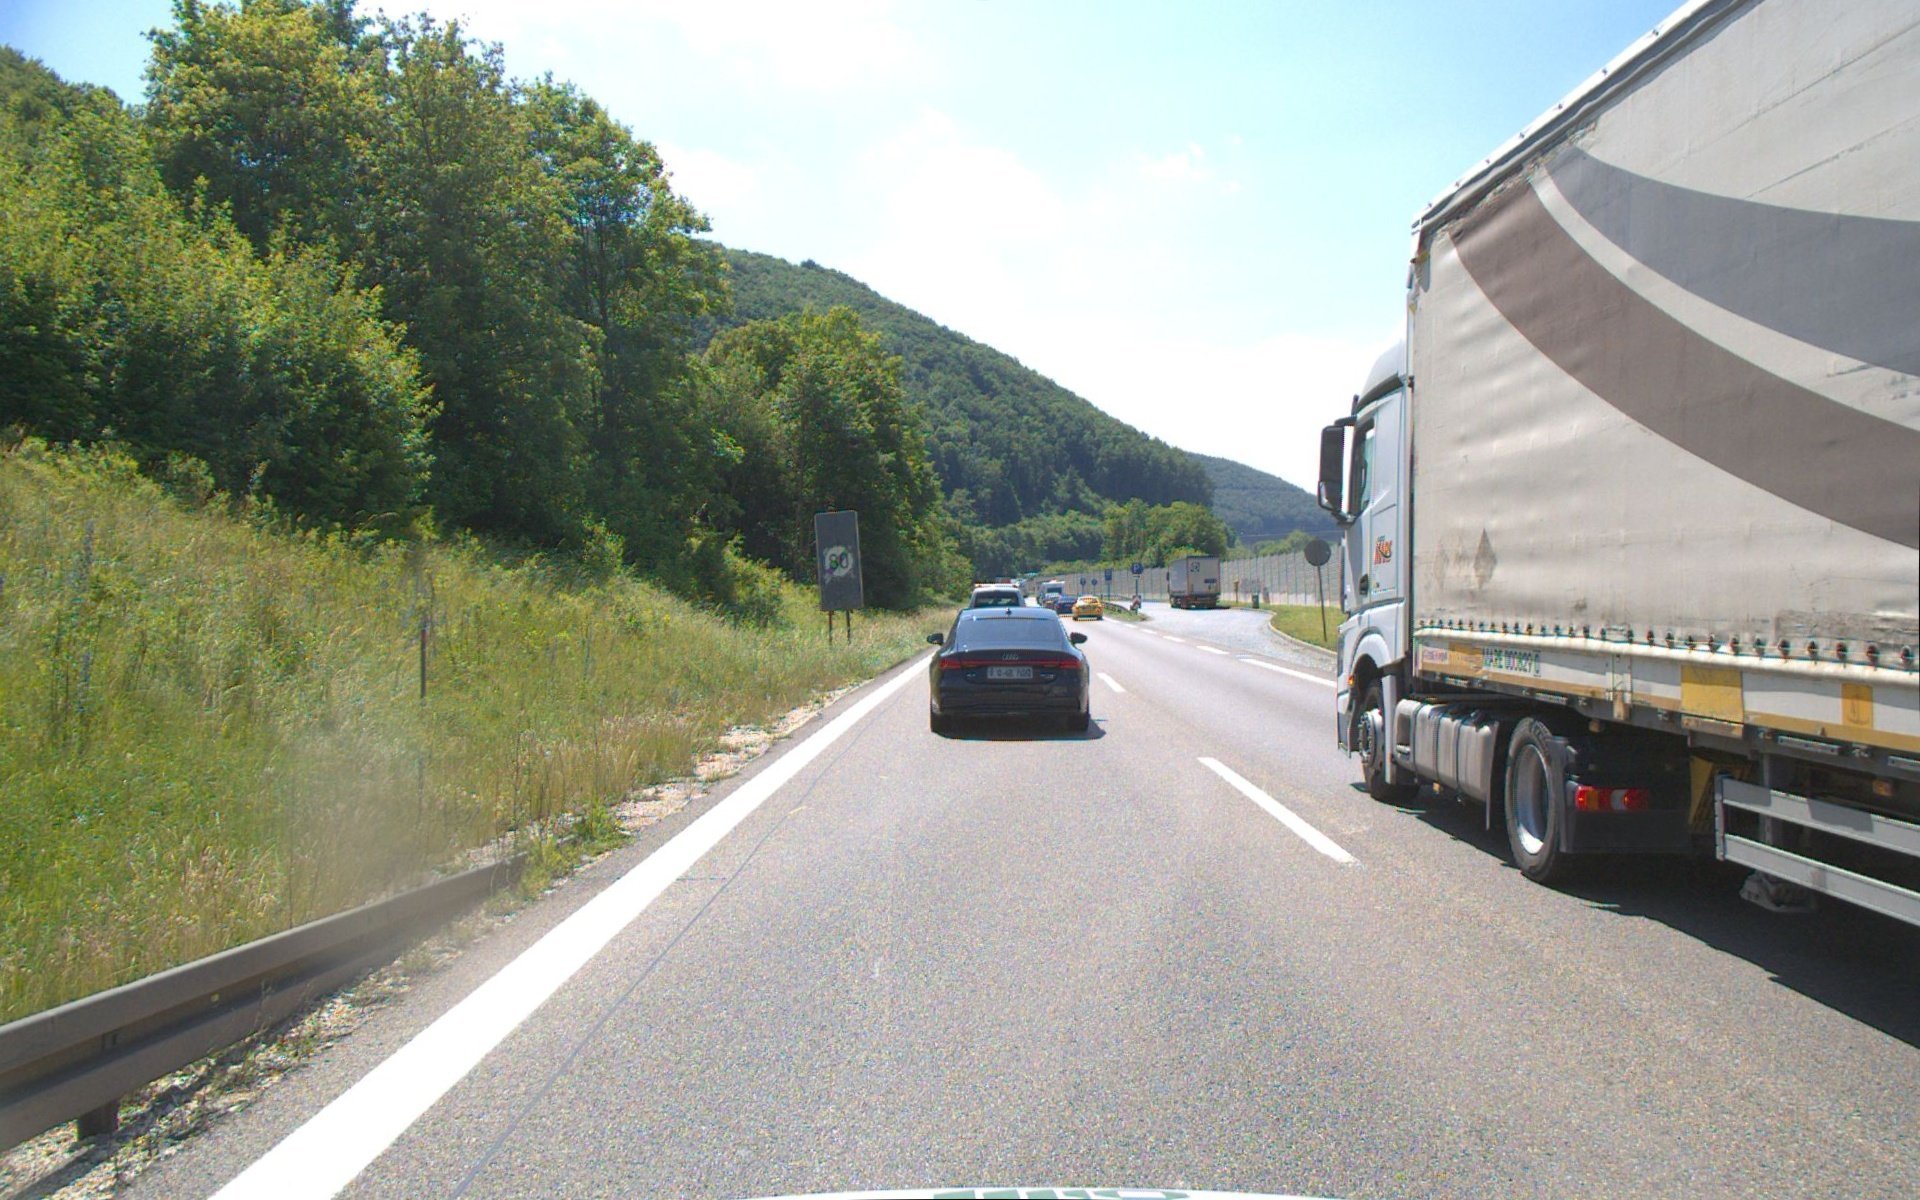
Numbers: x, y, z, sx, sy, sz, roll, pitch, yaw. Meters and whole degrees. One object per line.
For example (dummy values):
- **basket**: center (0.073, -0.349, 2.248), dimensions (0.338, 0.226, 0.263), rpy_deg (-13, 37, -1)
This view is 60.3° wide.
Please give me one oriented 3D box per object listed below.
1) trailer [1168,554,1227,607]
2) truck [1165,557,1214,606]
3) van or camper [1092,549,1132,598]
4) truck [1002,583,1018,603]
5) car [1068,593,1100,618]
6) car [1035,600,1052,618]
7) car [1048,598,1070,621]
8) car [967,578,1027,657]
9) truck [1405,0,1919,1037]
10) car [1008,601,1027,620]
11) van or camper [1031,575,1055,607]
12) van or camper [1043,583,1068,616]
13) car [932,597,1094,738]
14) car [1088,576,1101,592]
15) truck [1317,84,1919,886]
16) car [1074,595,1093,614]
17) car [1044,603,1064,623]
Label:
- **trailer**: center (18.622, -1.457, 130.207), dimensions (3.341, 3.968, 11.153), rpy_deg (0, 0, 2)
- **truck**: center (18.800, -1.488, 135.800), dimensions (3.341, 3.968, 5.388), rpy_deg (0, 0, 2)
- **van or camper**: center (12.826, -2.205, 139.982), dimensions (2.737, 3.909, 6.166), rpy_deg (1, -1, 0)
- **truck**: center (7.041, -1.022, 232.318), dimensions (2.021, 2.651, 5.616), rpy_deg (2, 0, 4)
- **car**: center (7.711, 0.369, 103.427), dimensions (1.840, 1.525, 4.001), rpy_deg (0, 0, 2)
- **car**: center (9.737, 1.017, 193.359), dimensions (1.952, 2.049, 4.000), rpy_deg (1, -1, 2)
- **car**: center (7.027, 0.697, 117.759), dimensions (1.498, 1.552, 3.597), rpy_deg (1, -1, 2)
- **car**: center (0.999, 0.465, 44.418), dimensions (1.490, 2.003, 3.514), rpy_deg (2, 0, 1)
- **truck**: center (4.484, -0.648, 4.628), dimensions (2.670, 4.139, 13.738), rpy_deg (0, -1, -1)
- **car**: center (4.943, 0.934, 141.790), dimensions (1.489, 1.580, 3.516), rpy_deg (2, 0, 3)
- **van or camper**: center (10.807, -1.182, 215.789), dimensions (2.737, 3.975, 6.166), rpy_deg (1, -1, 0)
- **van or camper**: center (9.602, -0.064, 166.925), dimensions (2.379, 3.210, 5.204), rpy_deg (1, -1, 2)
- **car**: center (0.630, 0.747, 19.914), dimensions (1.774, 1.541, 3.515), rpy_deg (0, 0, 2)
- **car**: center (17.764, -2.077, 219.164), dimensions (1.543, 2.049, 3.429), rpy_deg (-1, 0, 2)
- **truck**: center (4.439, -0.564, 11.430), dimensions (2.663, 4.139, 5.753), rpy_deg (0, -1, -1)
- **car**: center (13.804, 0.502, 184.718), dimensions (1.952, 2.049, 4.001), rpy_deg (0, 0, 1)
- **car**: center (7.797, 1.081, 137.333), dimensions (1.498, 1.552, 3.597), rpy_deg (1, -1, 2)
